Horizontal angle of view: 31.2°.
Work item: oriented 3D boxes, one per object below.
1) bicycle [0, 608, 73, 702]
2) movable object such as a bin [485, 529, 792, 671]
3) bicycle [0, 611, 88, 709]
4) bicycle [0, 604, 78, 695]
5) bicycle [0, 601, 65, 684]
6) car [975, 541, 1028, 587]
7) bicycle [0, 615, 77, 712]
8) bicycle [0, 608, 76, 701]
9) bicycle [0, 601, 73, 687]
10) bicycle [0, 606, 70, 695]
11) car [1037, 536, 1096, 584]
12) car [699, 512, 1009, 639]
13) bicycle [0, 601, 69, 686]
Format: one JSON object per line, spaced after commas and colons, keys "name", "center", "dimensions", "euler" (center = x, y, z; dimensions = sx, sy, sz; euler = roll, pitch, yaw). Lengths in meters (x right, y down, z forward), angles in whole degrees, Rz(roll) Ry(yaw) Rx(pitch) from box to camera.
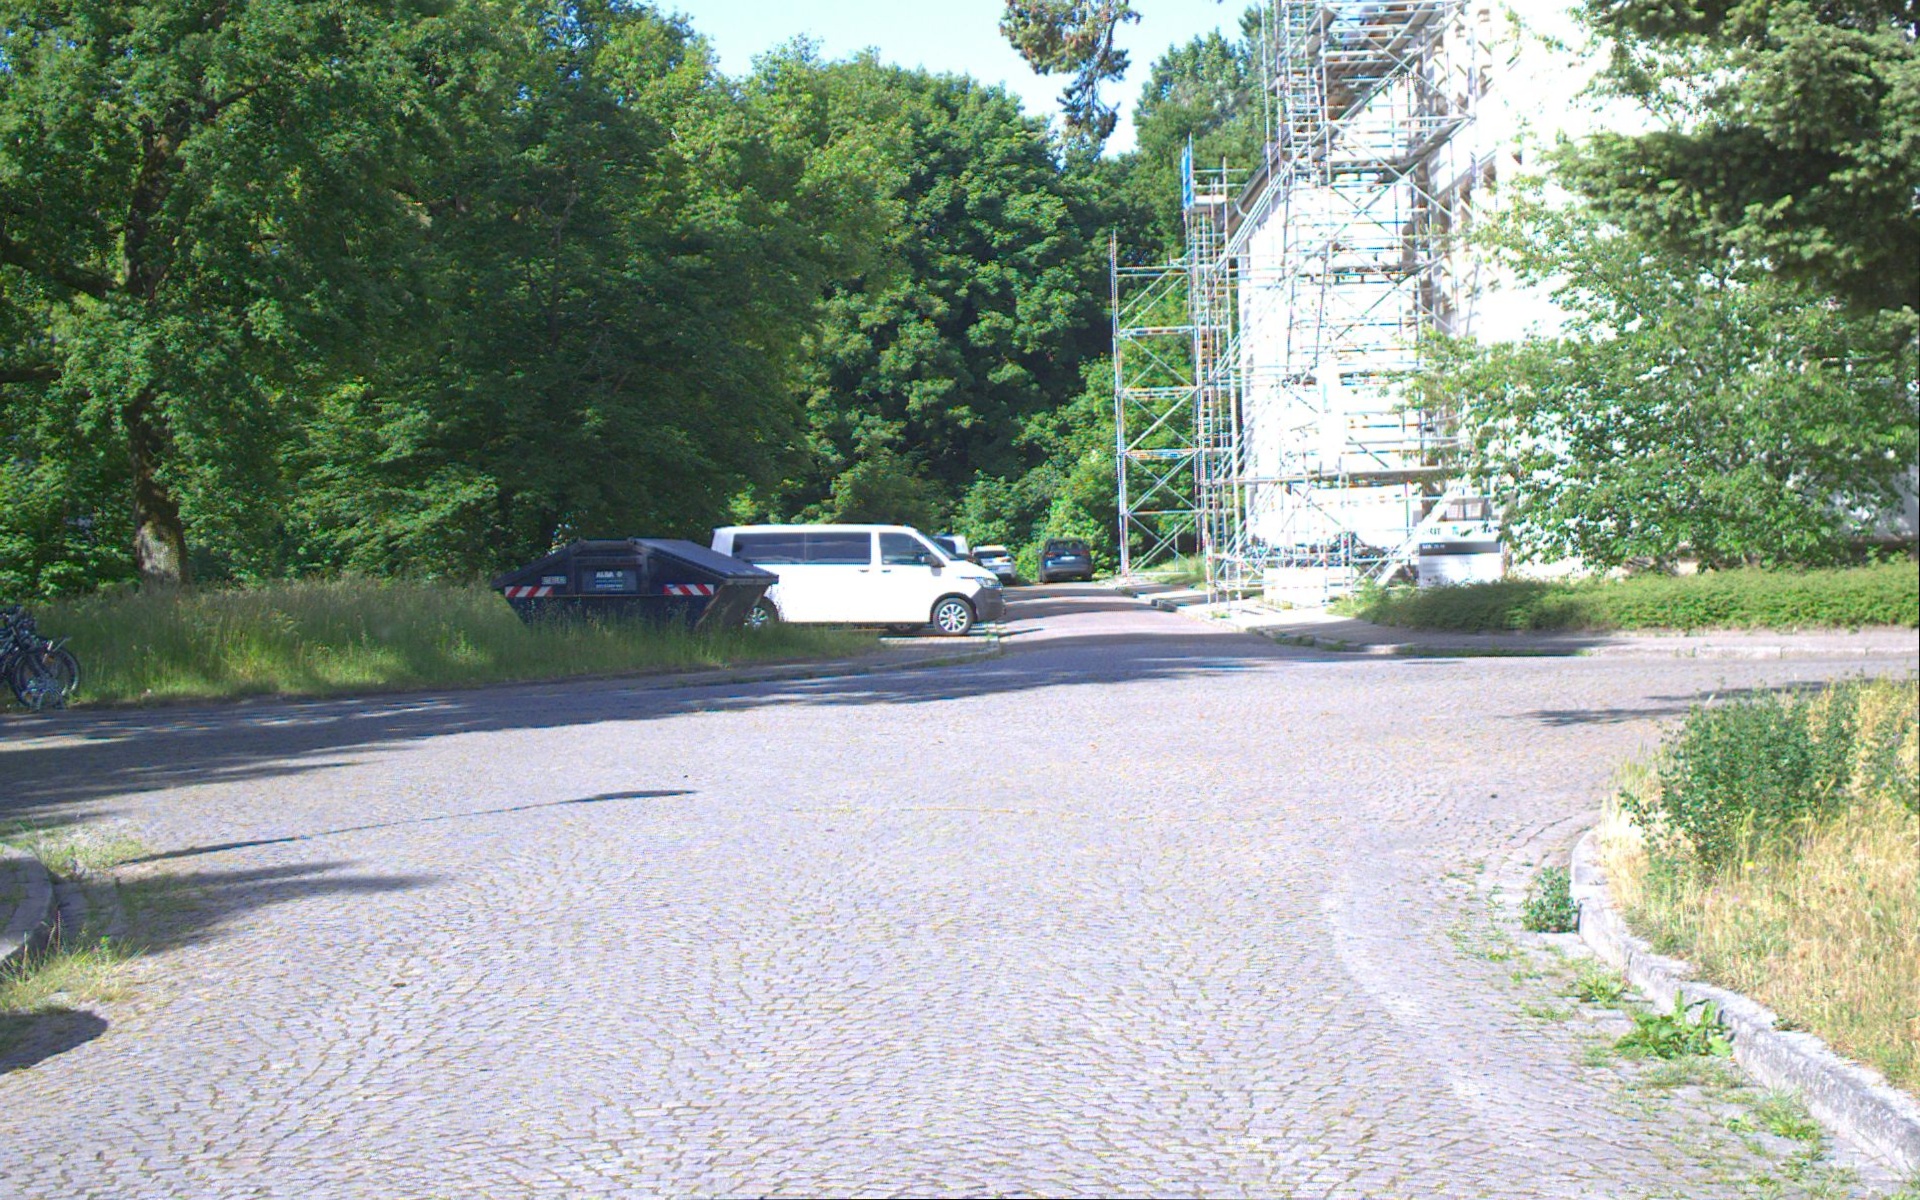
{"name": "bicycle", "center": [-11.633, 0.697, 41.021], "dimensions": [1.913, 1.054, 0.476], "euler": [-4, 2, -22]}
{"name": "movable object such as a bin", "center": [-4.355, -0.007, 46.697], "dimensions": [3.569, 1.738, 2.023], "euler": [-2, 1, 19]}
{"name": "bicycle", "center": [-11.200, 0.729, 40.024], "dimensions": [1.913, 1.054, 0.476], "euler": [-5, 2, -28]}
{"name": "bicycle", "center": [-11.919, 0.647, 42.377], "dimensions": [1.913, 1.054, 0.476], "euler": [-4, 2, -22]}
{"name": "bicycle", "center": [-12.983, 0.605, 45.875], "dimensions": [1.913, 1.054, 0.476], "euler": [-4, 2, -20]}
{"name": "car", "center": [1.490, -1.322, 125.719], "dimensions": [1.812, 1.574, 4.135], "euler": [-2, 1, 0]}
{"name": "bicycle", "center": [-11.188, 0.767, 39.469], "dimensions": [1.913, 1.054, 0.476], "euler": [-5, 2, -28]}
{"name": "bicycle", "center": [-11.738, 0.697, 41.586], "dimensions": [1.913, 1.054, 0.476], "euler": [-4, 2, -22]}
{"name": "bicycle", "center": [-12.645, 0.605, 44.966], "dimensions": [1.913, 1.054, 0.476], "euler": [-4, 2, -20]}
{"name": "bicycle", "center": [-12.220, 0.674, 43.195], "dimensions": [1.913, 1.054, 0.476], "euler": [-4, 2, -20]}
{"name": "car", "center": [3.893, -1.476, 125.982], "dimensions": [1.971, 1.662, 4.086], "euler": [-2, 1, 0]}
{"name": "car", "center": [-1.813, -0.437, 59.753], "dimensions": [5.234, 2.009, 1.950], "euler": [-2, 1, 0]}
{"name": "bicycle", "center": [-12.824, 0.606, 45.435], "dimensions": [1.913, 1.054, 0.476], "euler": [-4, 2, -20]}
